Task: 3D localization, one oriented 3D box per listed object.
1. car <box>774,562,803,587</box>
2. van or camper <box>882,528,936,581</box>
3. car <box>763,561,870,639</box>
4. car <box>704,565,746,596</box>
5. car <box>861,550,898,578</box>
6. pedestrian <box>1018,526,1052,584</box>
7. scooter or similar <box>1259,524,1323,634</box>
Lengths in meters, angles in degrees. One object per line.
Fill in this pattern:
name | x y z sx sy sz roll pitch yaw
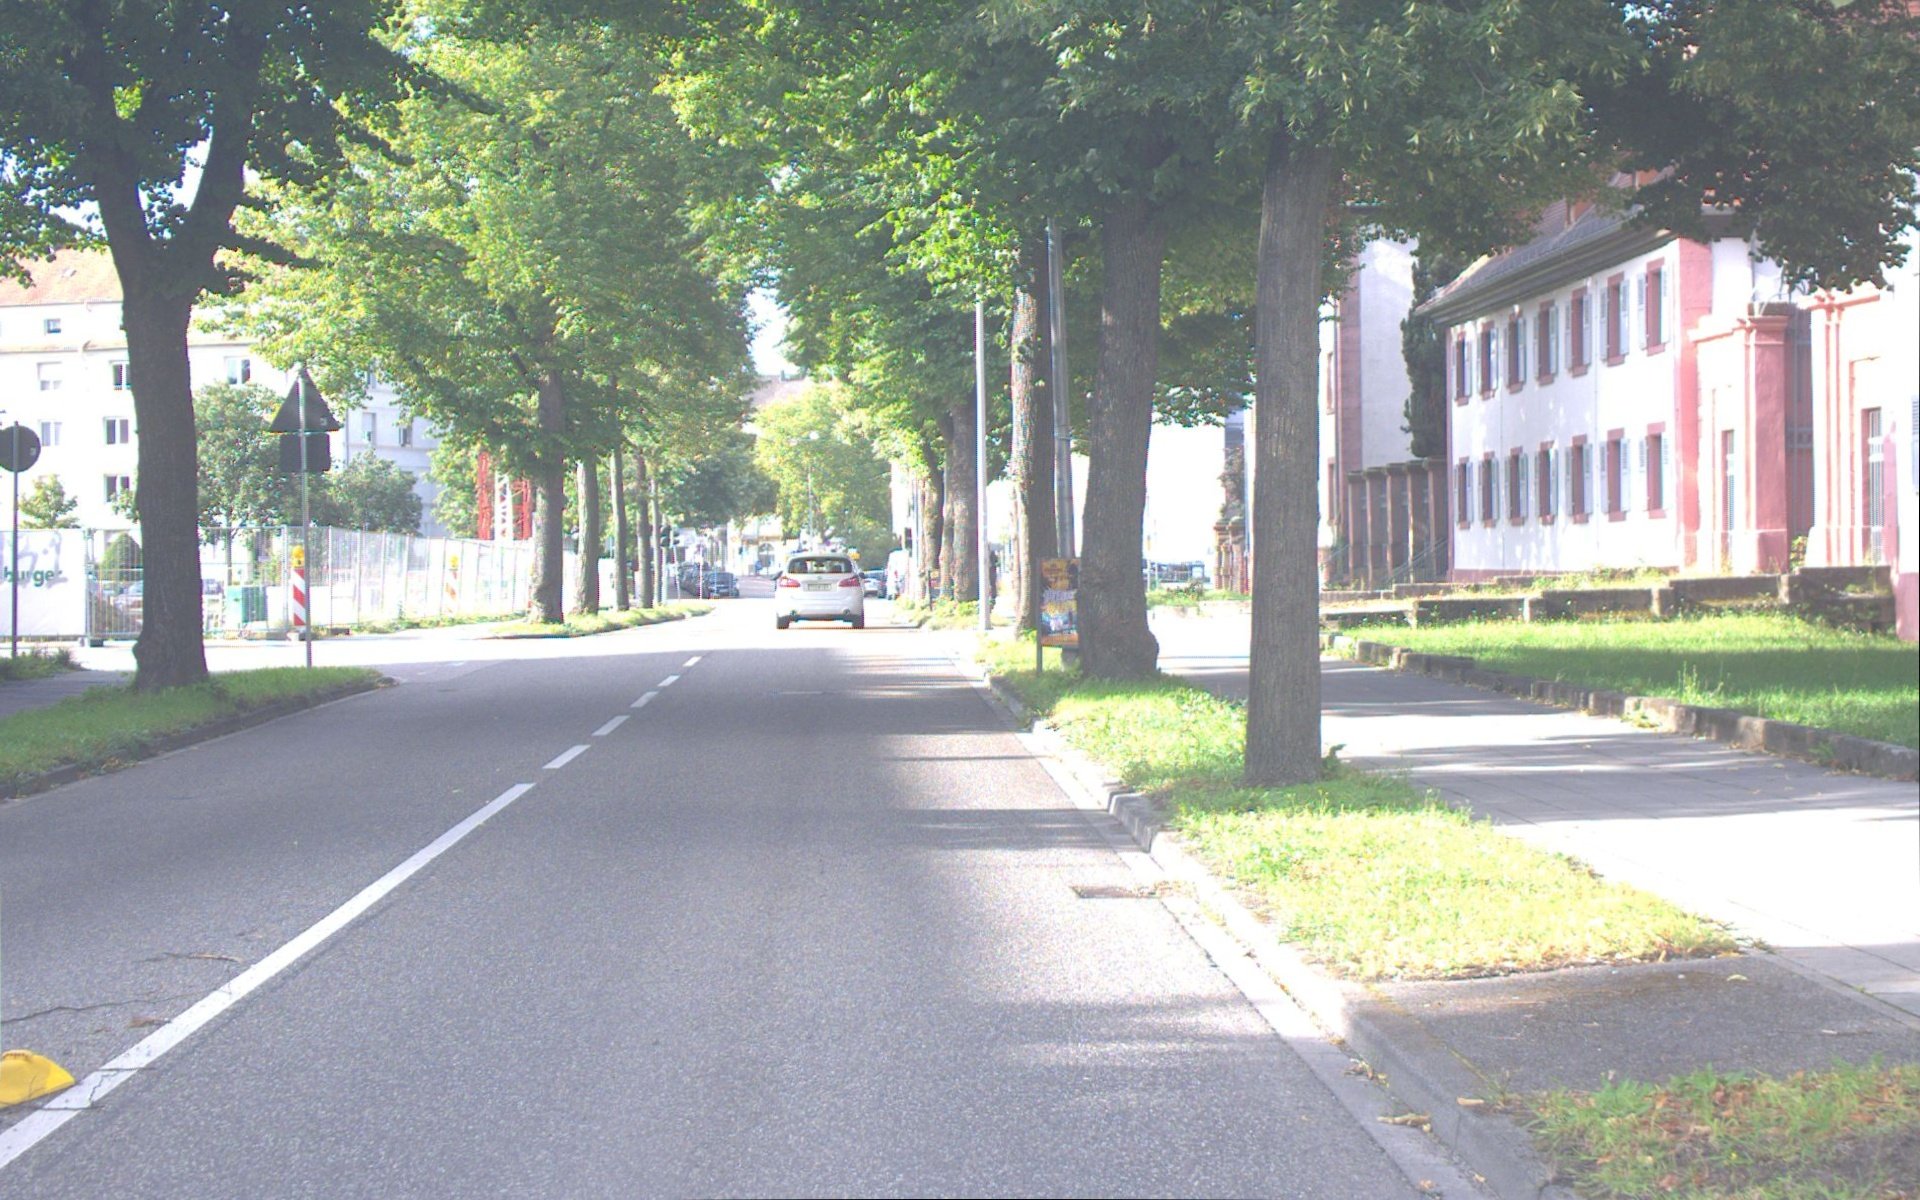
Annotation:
car | -12.254 -1.829 245.437 1.993 1.749 4.000 0 0 -2
van or camper | -2.597 -2.332 175.375 2.209 2.598 5.373 -2 1 -6
car | -2.974 -0.001 70.578 1.993 1.549 4.275 0 0 -5
car | -13.108 -1.083 191.456 1.993 1.634 4.001 -2 1 -8
car | -4.624 -2.074 196.823 1.993 1.568 4.001 -2 1 -3
pedestrian | 2.115 -1.268 97.322 0.814 1.585 0.769 -3 0 -3
scooter or similar | 4.014 -0.266 41.754 0.579 1.287 1.381 -3 1 0
